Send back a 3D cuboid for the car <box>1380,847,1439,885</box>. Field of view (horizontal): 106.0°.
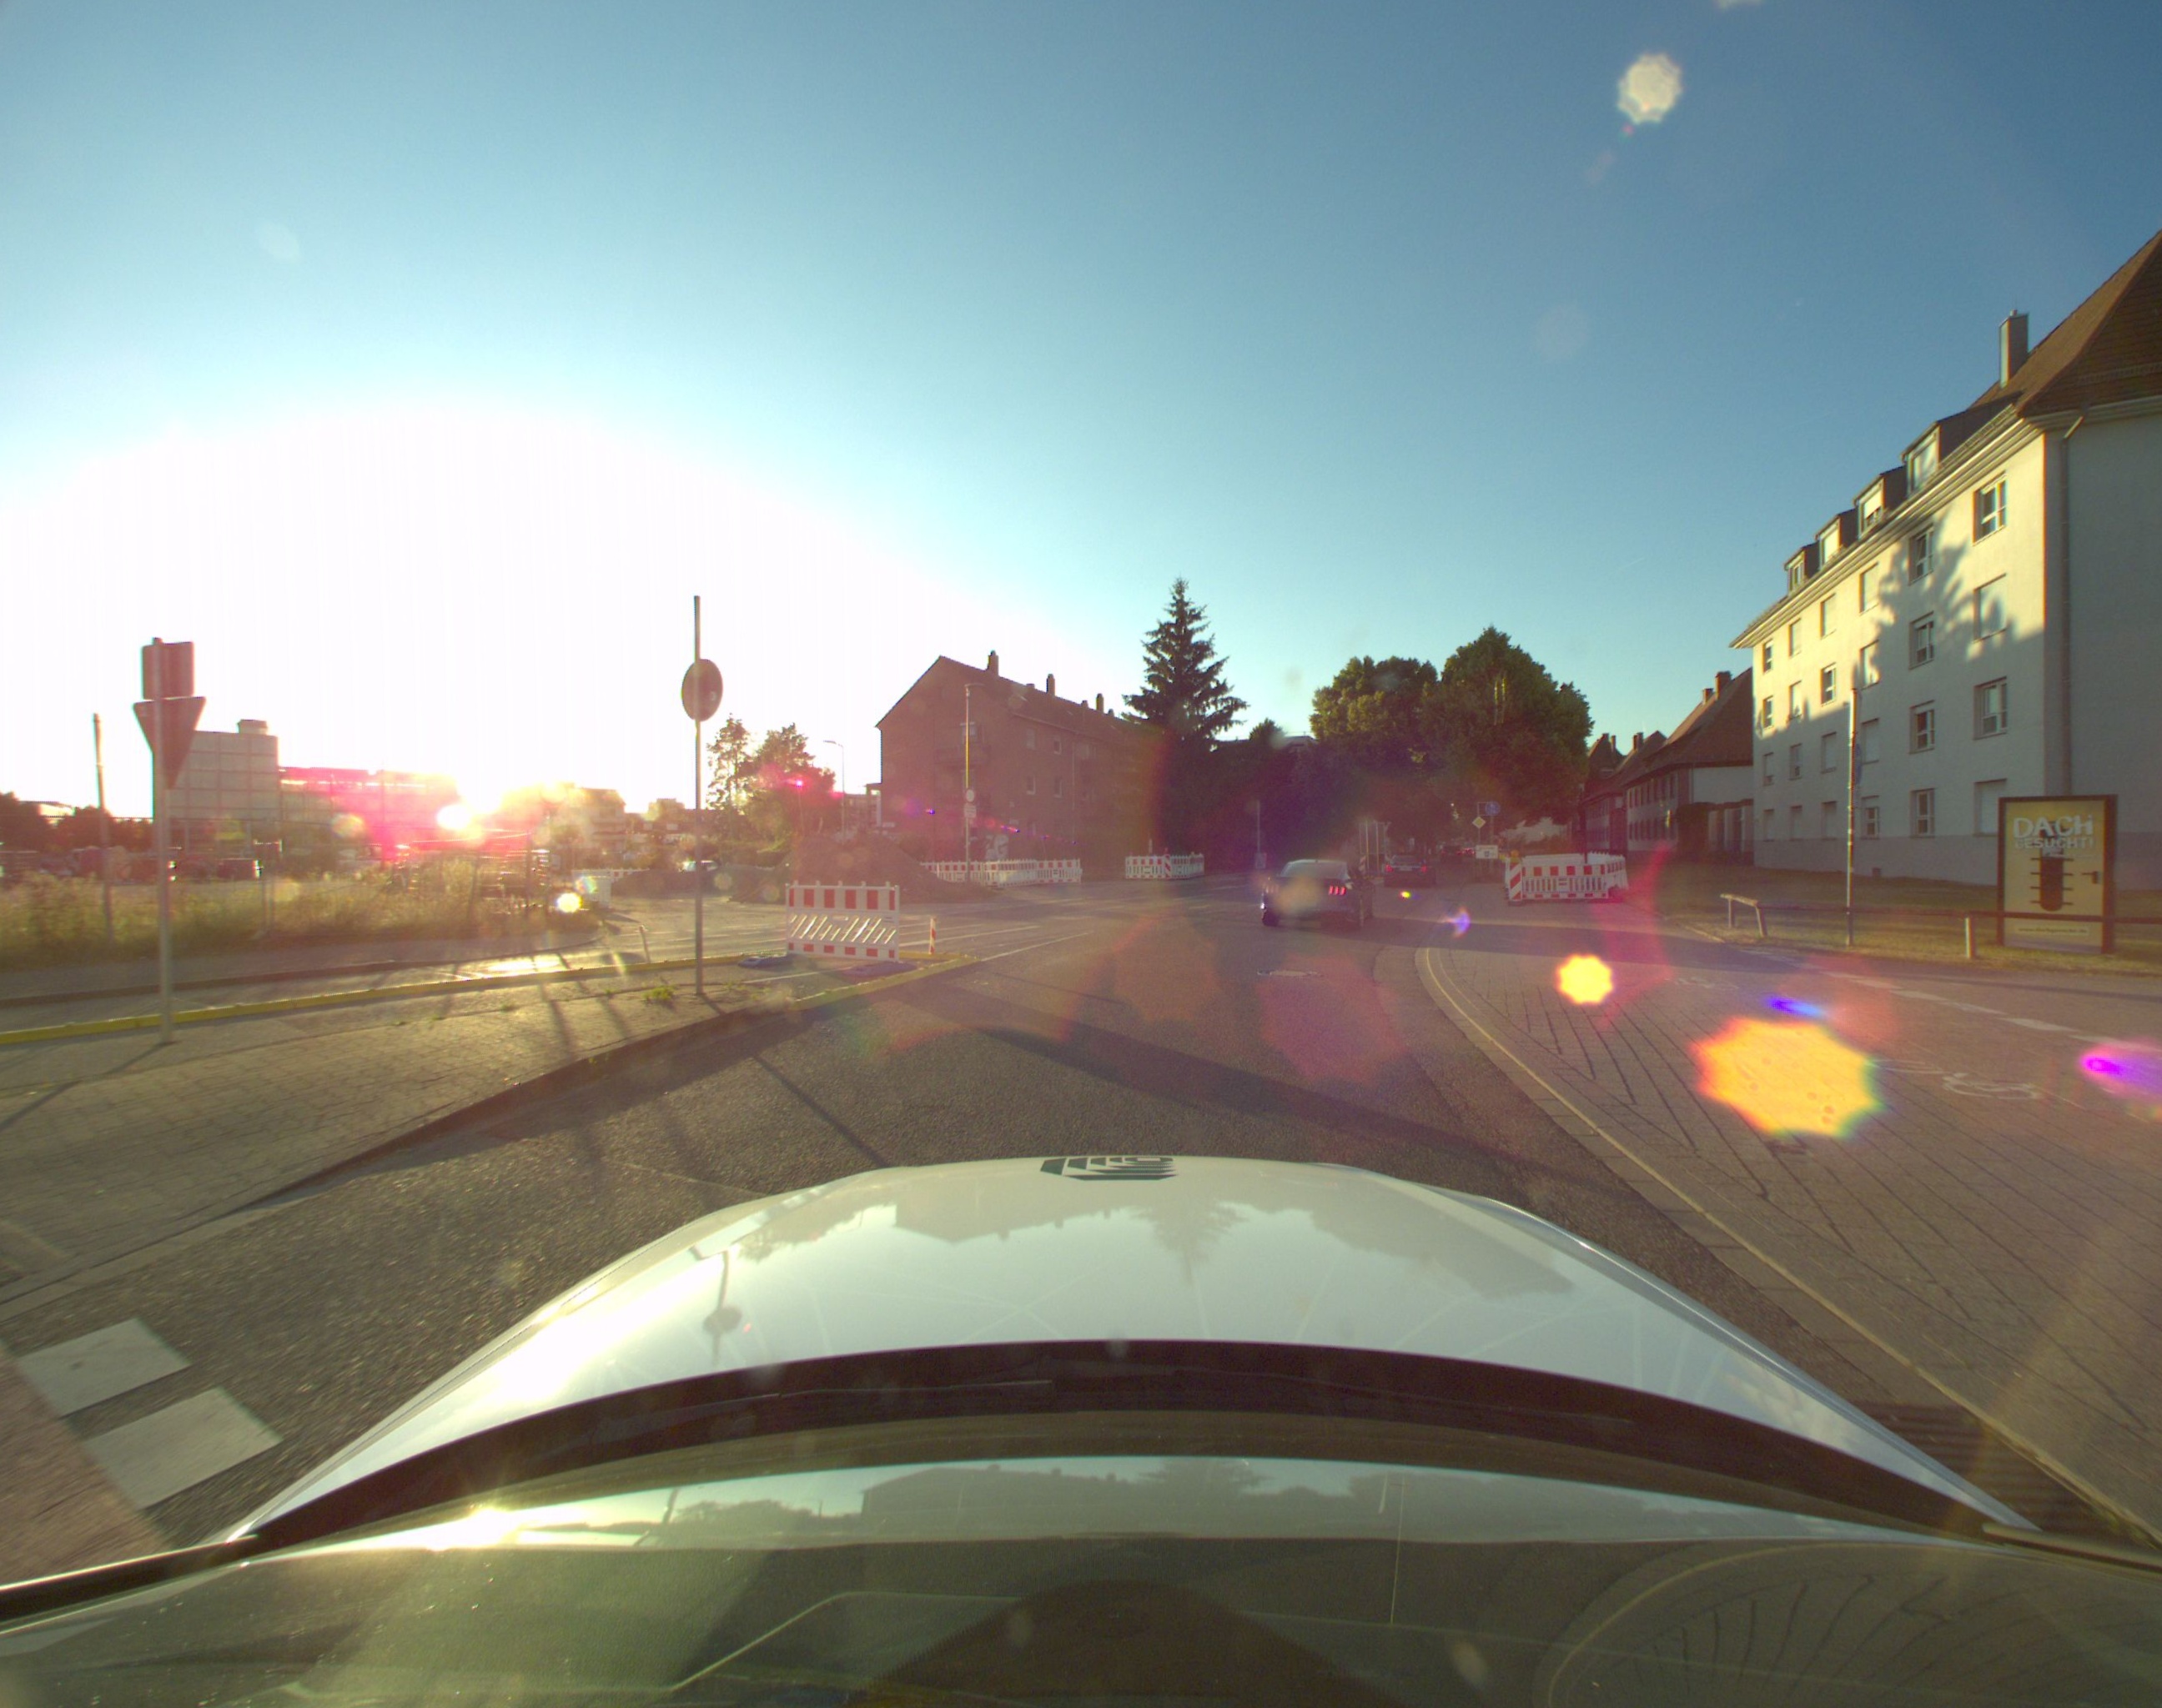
[{"bbox_3d":[13.834,0.460,34.160,1.933,1.427,4.456,1,1,27],"label":"car"}]

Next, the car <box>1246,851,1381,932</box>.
[{"bbox_3d":[5.068,0.664,17.254,1.933,1.341,4.698,2,2,26],"label":"car"}]

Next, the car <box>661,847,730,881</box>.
[{"bbox_3d":[-20.378,0.493,42.979,3.950,1.706,2.012,0,0,44],"label":"car"}]

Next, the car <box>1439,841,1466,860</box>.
[{"bbox_3d":[33.382,-0.302,73.088,1.933,1.571,4.457,1,2,28],"label":"car"}]
